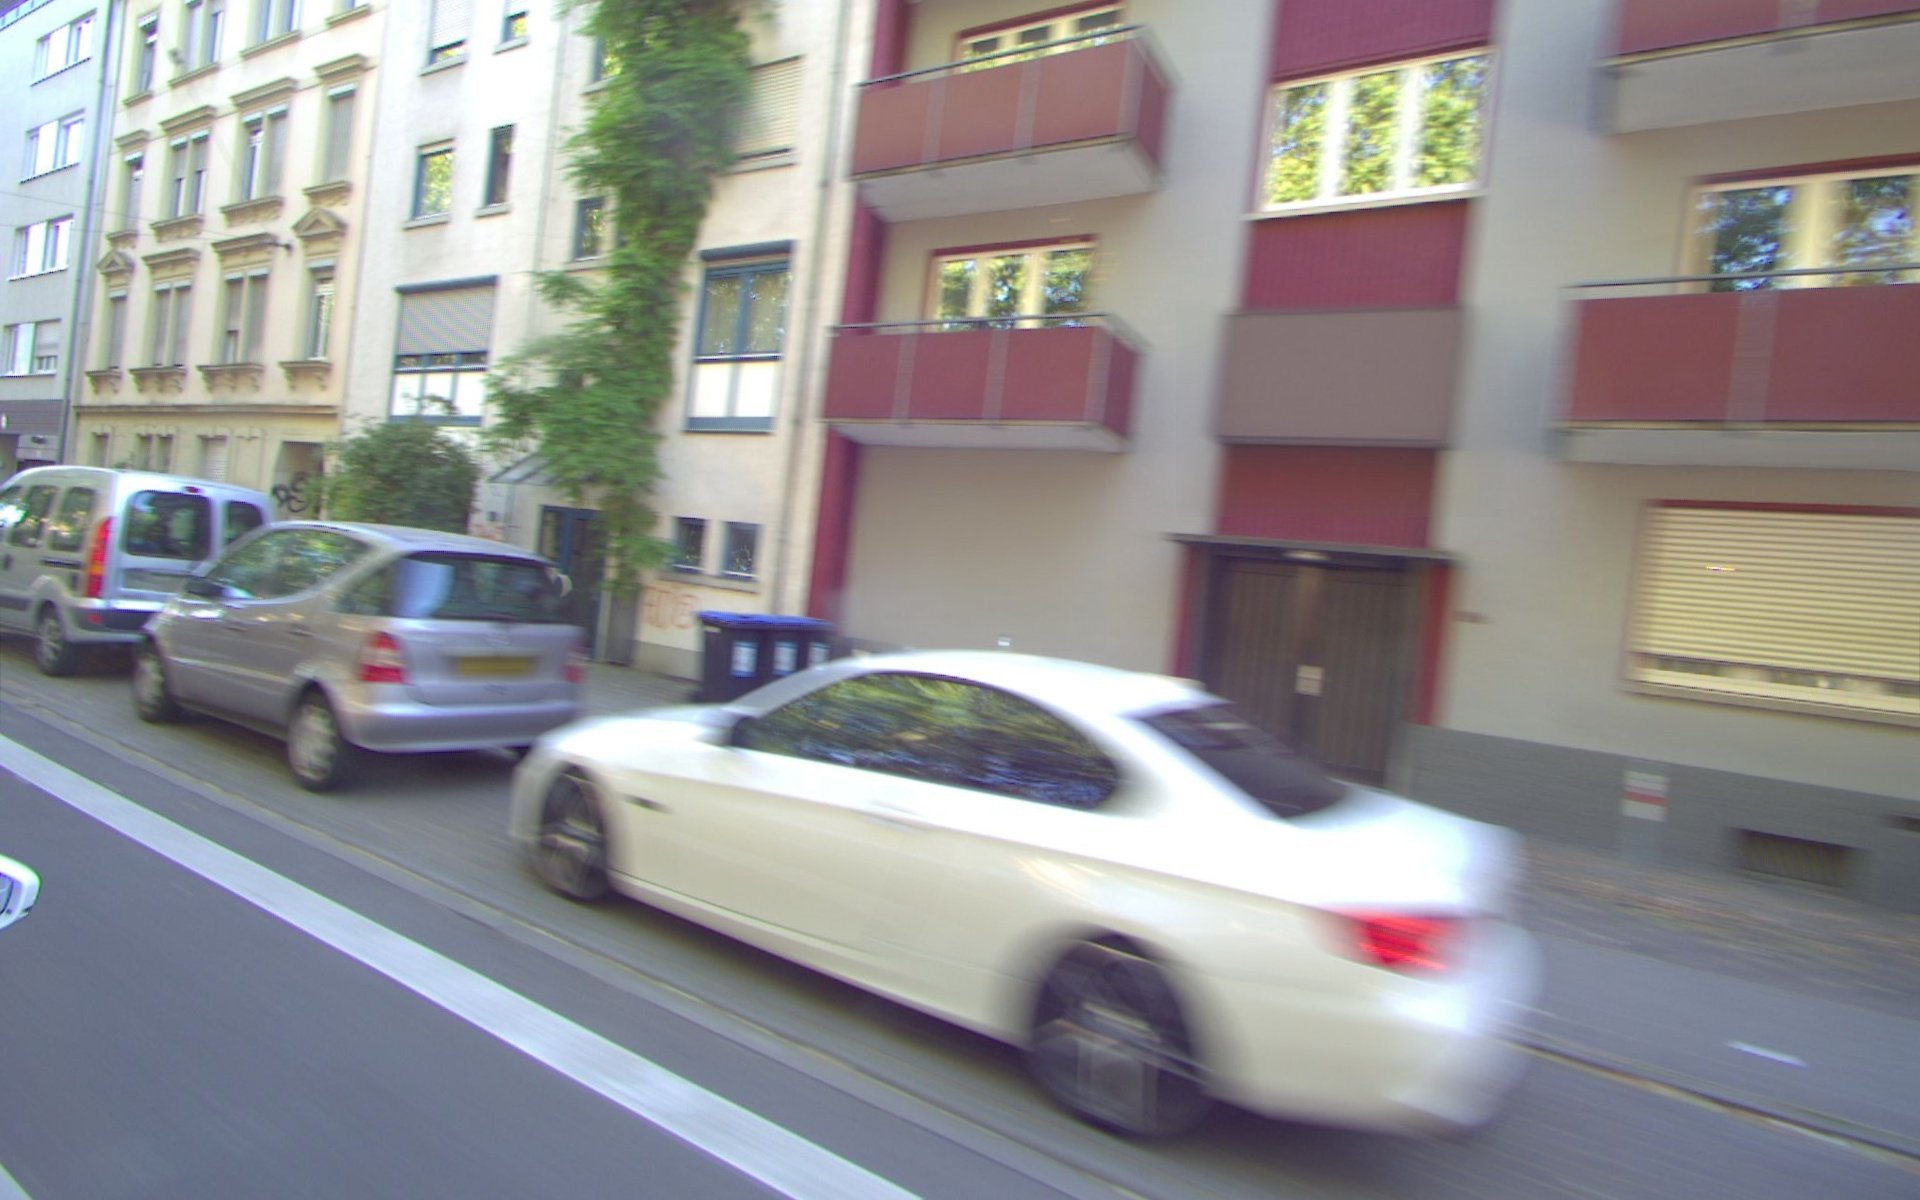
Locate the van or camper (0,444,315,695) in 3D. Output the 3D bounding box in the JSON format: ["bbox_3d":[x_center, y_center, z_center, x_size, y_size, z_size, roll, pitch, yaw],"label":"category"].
[{"bbox_3d":[-8.200,-0.384,9.580,4.139,1.907,1.670,7,2,30],"label":"van or camper"}]

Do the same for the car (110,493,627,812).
[{"bbox_3d":[-4.276,0.236,7.160,3.529,1.601,1.661,7,1,32],"label":"car"}]

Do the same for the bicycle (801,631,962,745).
[{"bbox_3d":[-0.771,0.887,10.499,0.469,1.043,1.892,7,2,36],"label":"bicycle"}]

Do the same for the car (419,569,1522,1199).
[{"bbox_3d":[-0.245,0.821,4.510,4.660,1.418,1.660,7,2,31],"label":"car"}]
